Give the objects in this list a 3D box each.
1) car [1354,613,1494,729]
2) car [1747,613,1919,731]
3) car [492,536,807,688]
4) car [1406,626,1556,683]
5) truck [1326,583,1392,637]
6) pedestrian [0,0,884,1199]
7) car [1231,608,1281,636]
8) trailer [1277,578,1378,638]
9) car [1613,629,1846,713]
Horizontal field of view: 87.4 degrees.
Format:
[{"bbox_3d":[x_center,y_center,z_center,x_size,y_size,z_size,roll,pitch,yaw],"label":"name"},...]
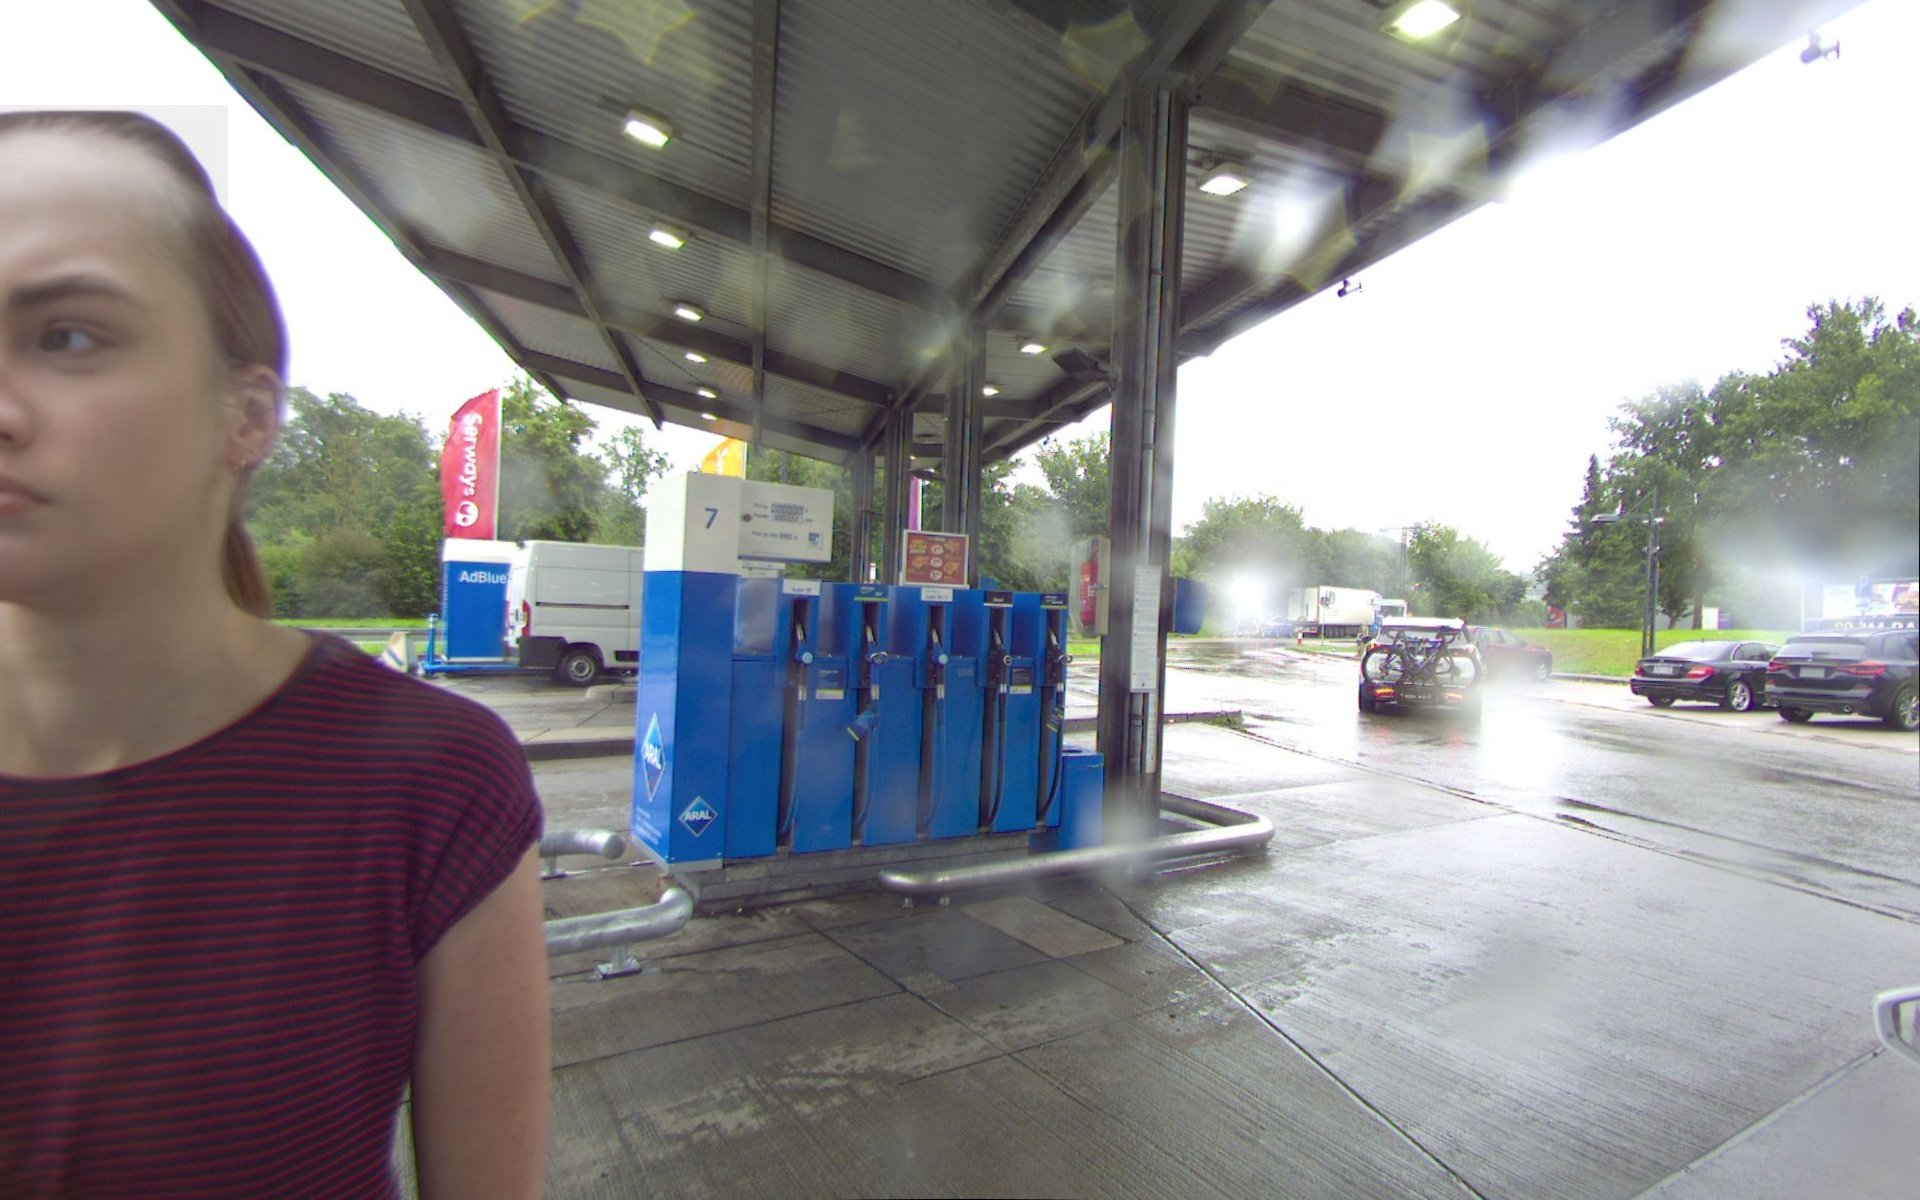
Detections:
[{"bbox_3d":[7.718,1.032,16.683,1.786,1.586,4.999,1,0,26],"label":"car"},{"bbox_3d":[16.145,1.192,17.403,4.344,1.852,1.883,1,-1,-19],"label":"car"},{"bbox_3d":[-5.775,0.270,18.948,5.227,2.496,2.306,1,-1,-34],"label":"car"},{"bbox_3d":[16.089,1.651,31.012,4.294,1.617,1.879,1,-1,-24],"label":"car"},{"bbox_3d":[35.577,0.930,89.459,3.416,4.618,6.704,2,0,40],"label":"truck"},{"bbox_3d":[-0.604,0.460,0.592,0.830,1.757,0.790,2,-1,-31],"label":"pedestrian"},{"bbox_3d":[20.911,1.526,70.843,1.903,1.862,4.373,1,0,38],"label":"car"},{"bbox_3d":[30.904,0.759,83.855,3.416,4.618,13.847,2,0,40],"label":"trailer"},{"bbox_3d":[15.931,1.420,20.823,4.119,1.585,1.883,1,-1,-19],"label":"car"}]
